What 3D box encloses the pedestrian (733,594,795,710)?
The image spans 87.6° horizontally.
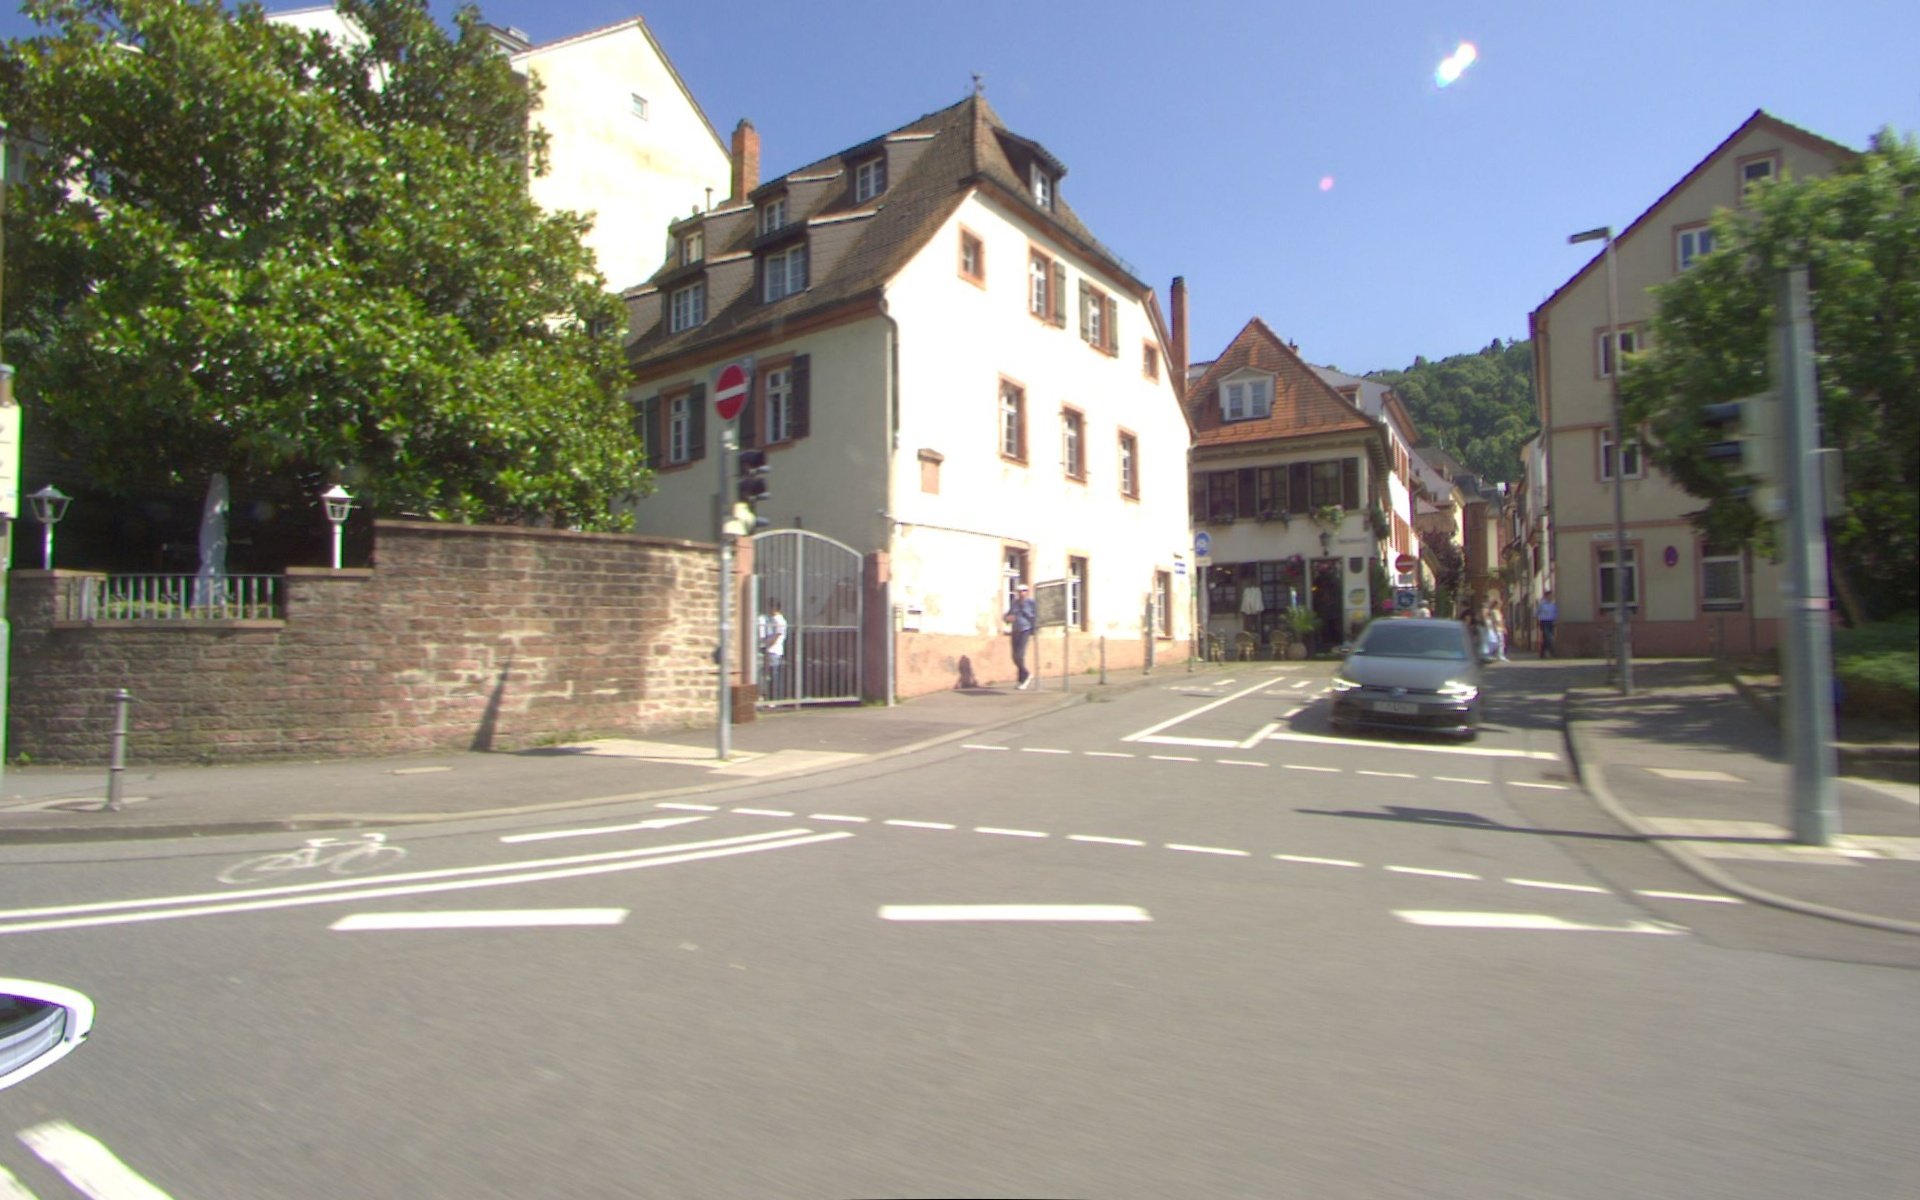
[{"bbox_3d":[-3.005,0.789,15.339,0.716,1.727,0.703,1,-1,-35],"label":"pedestrian"}]

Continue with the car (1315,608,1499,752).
[{"bbox_3d":[6.216,0.933,13.678,1.832,1.506,3.980,3,2,30],"label":"car"}]

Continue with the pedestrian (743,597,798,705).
[{"bbox_3d":[-3.134,0.837,16.573,0.698,1.727,0.722,0,-1,-30],"label":"pedestrian"}]

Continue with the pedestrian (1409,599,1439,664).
[{"bbox_3d":[12.535,0.844,27.072,0.654,1.705,0.451,0,3,34],"label":"pedestrian"}]

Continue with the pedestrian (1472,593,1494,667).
[{"bbox_3d":[13.065,0.755,25.024,0.429,1.812,0.483,0,3,34],"label":"pedestrian"}]

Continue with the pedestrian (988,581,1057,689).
[{"bbox_3d":[1.104,0.597,17.572,0.852,1.817,0.921,0,1,35],"label":"pedestrian"}]

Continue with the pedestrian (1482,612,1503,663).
[{"bbox_3d":[13.672,0.963,25.694,0.437,1.294,0.331,0,2,34],"label":"pedestrian"}]

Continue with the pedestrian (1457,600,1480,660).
[{"bbox_3d":[13.908,0.810,27.365,0.501,1.598,0.414,0,3,34],"label":"pedestrian"}]
